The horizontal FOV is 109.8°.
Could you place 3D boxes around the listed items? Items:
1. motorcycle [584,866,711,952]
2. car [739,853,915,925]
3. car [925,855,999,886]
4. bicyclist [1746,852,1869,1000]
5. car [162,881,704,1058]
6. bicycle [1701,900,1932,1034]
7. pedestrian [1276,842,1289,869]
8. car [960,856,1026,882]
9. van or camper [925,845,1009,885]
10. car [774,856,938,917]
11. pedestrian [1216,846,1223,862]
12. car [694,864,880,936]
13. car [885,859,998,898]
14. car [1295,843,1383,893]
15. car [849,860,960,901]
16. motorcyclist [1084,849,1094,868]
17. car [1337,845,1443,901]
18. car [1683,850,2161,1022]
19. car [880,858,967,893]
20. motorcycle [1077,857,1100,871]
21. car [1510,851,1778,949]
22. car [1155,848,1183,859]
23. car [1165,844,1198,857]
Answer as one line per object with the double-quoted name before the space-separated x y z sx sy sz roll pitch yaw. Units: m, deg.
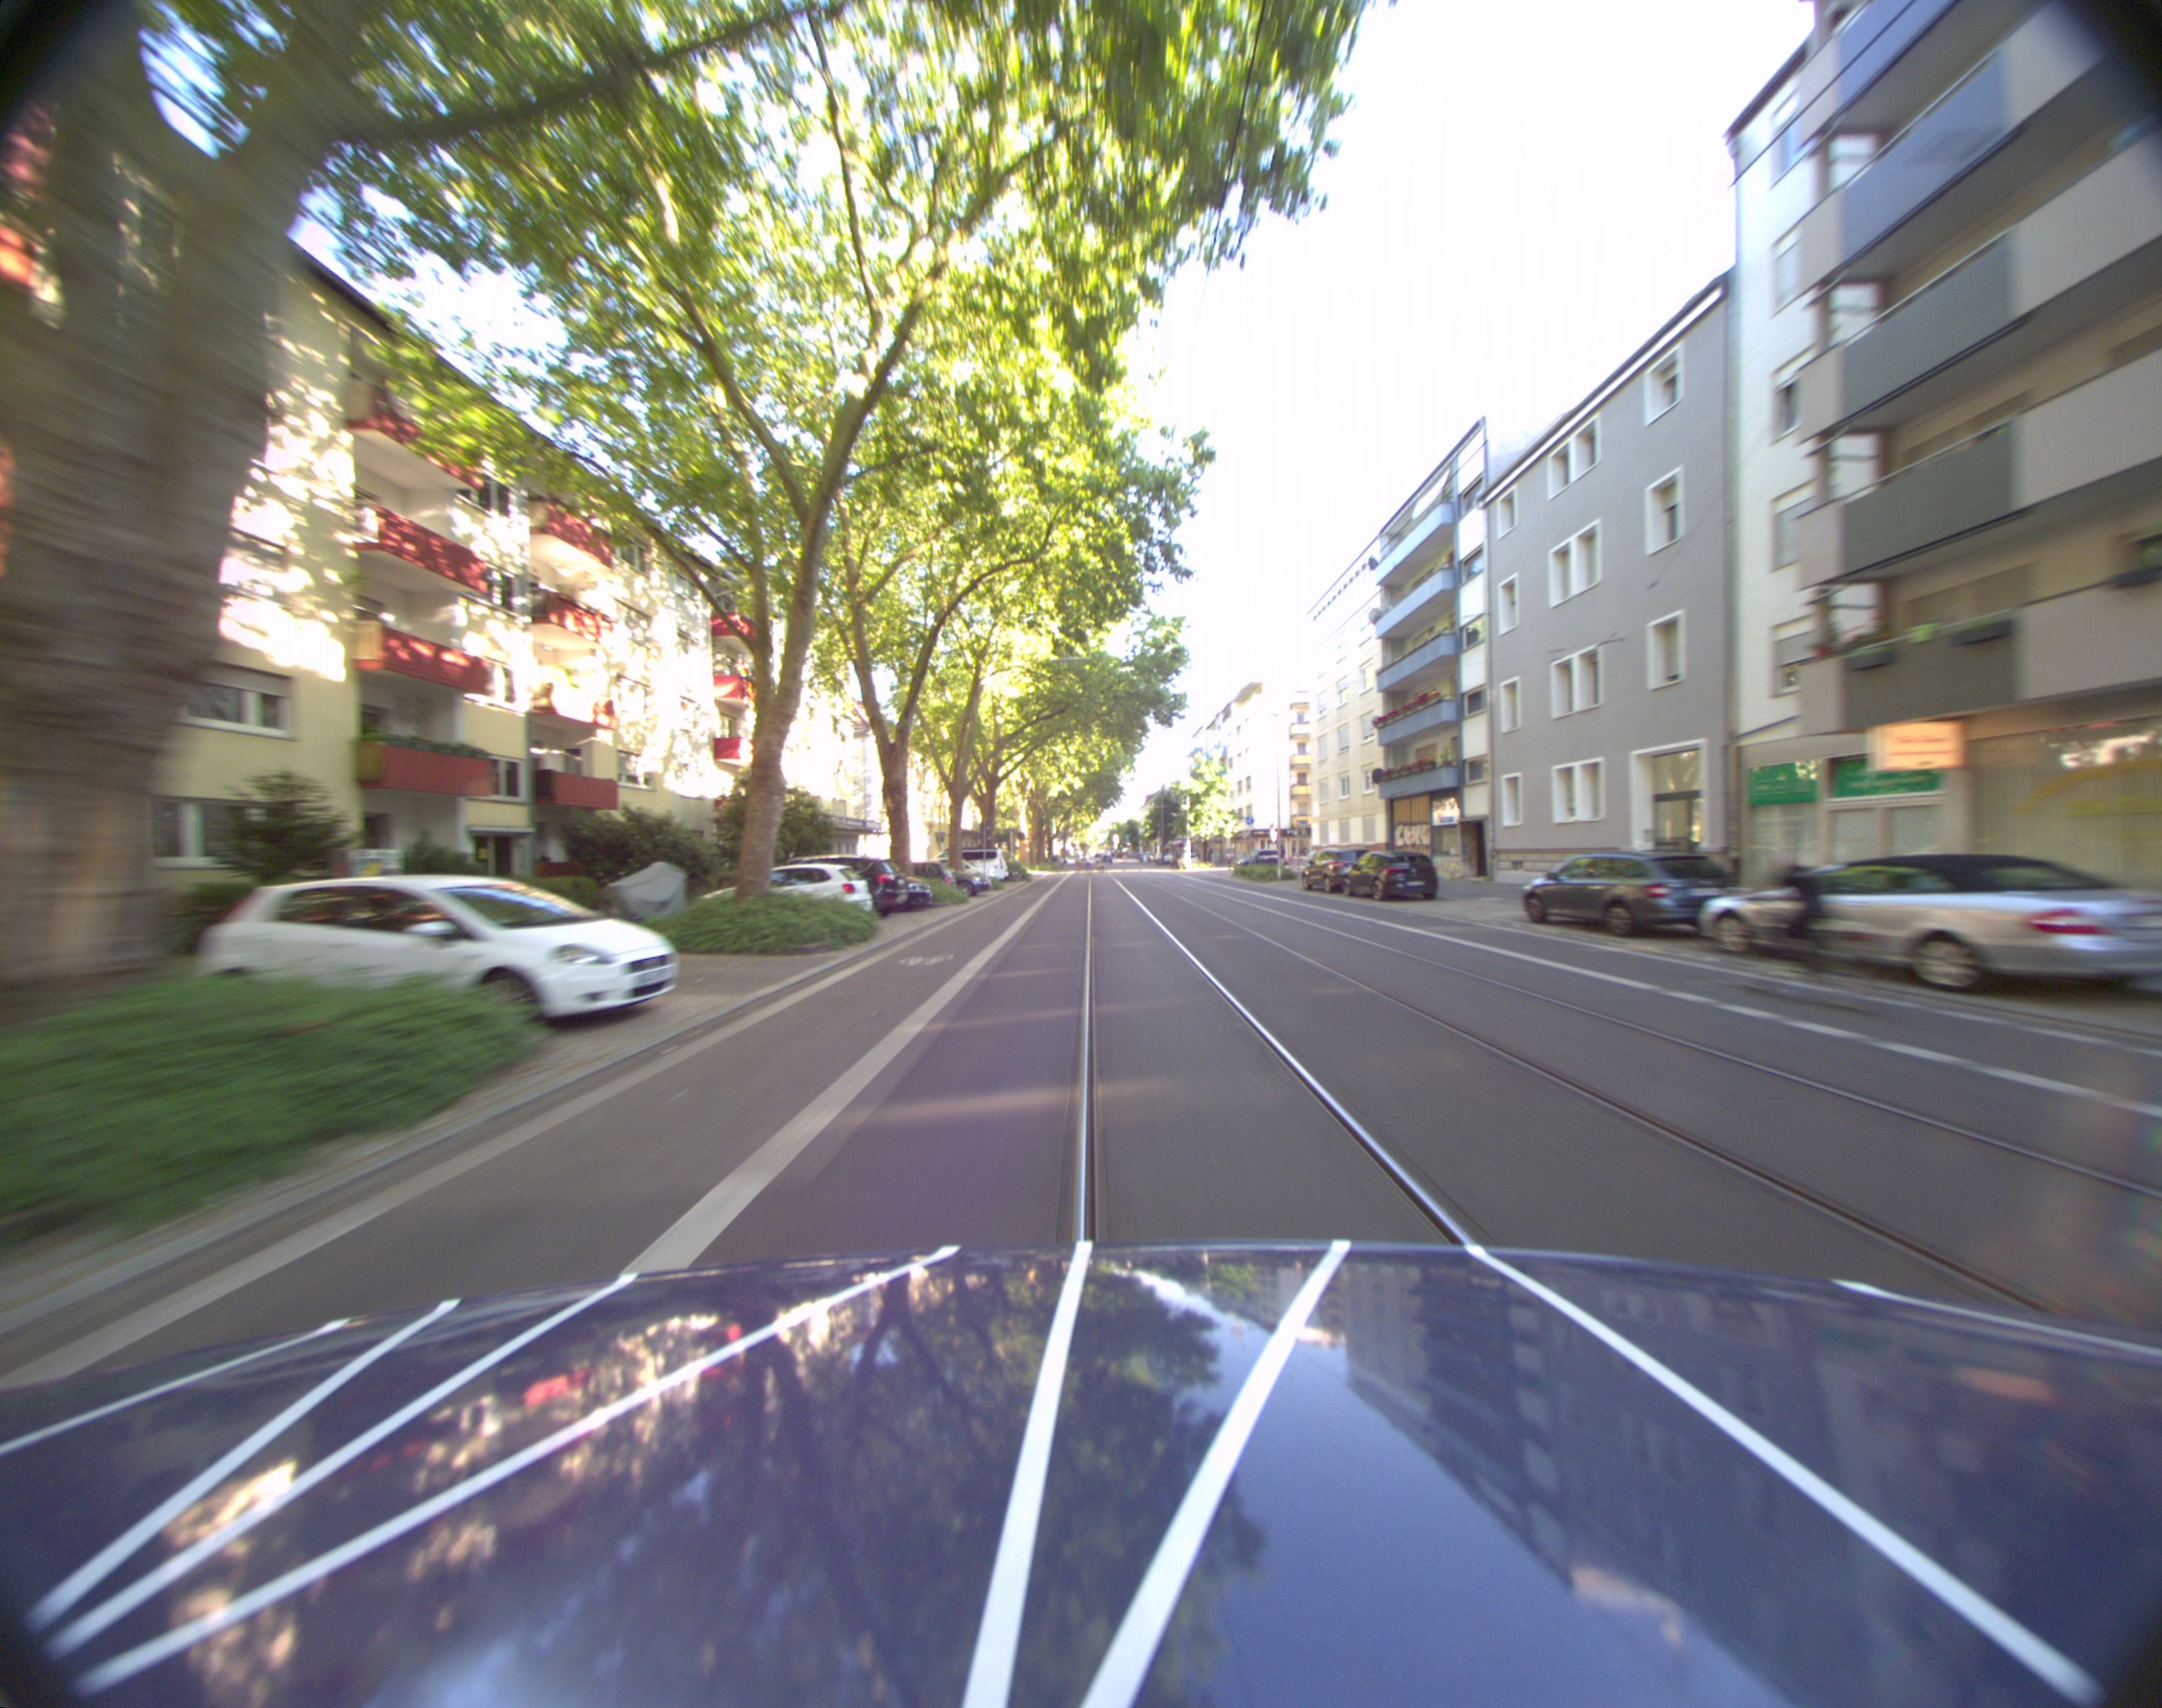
"motorcycle" -8.509 1.016 15.130 0.842 1.470 2.818 -1 1 1
"car" -6.630 0.889 20.126 4.003 1.735 1.805 -1 0 1
"car" -6.165 0.851 39.630 3.572 1.522 1.677 -1 1 -1
"bicyclist" 7.165 0.680 7.529 0.510 1.386 0.709 1 1 1
"car" -6.182 1.063 7.594 3.963 1.471 1.688 -1 1 1
"bicycle" 7.155 1.038 7.544 0.418 1.012 1.946 0 1 1
"pedestrian" 14.381 0.093 54.307 0.773 1.888 0.799 -2 1 9
"car" -5.161 0.864 44.975 3.570 1.431 1.726 -1 1 4
"van or camper" -6.284 0.571 42.280 4.388 2.098 1.838 -1 1 -3
"car" -6.540 0.924 22.471 4.302 1.643 1.742 -1 1 -2
"pedestrian" 13.646 -0.010 74.877 0.596 1.496 0.655 -3 1 1
"car" -6.707 1.030 17.621 3.618 1.486 1.660 -1 1 -1
"car" -5.649 0.974 31.099 4.206 1.473 1.911 0 1 2
"car" 9.999 0.506 29.879 1.784 1.728 4.488 -3 1 -1
"car" -6.595 0.990 28.723 3.837 1.435 1.699 0 1 -3
"motorcyclist" 0.699 0.393 64.755 0.756 1.609 0.588 -1 1 -6
"car" 9.964 0.563 24.855 1.660 1.591 4.202 -3 1 0
"car" 9.877 0.714 9.088 1.693 1.482 4.728 -1 0 2
"car" -6.898 0.937 33.544 3.482 1.473 1.643 0 1 1
"motorcycle" 0.631 0.825 64.760 1.832 1.112 0.589 -1 1 -7
"car" 10.038 0.709 14.051 1.798 1.482 4.240 -1 0 0
"car" 12.426 -0.096 107.437 3.953 1.515 1.587 -1 1 5
"car" 12.302 -0.439 93.429 3.953 1.515 1.587 -1 1 5
